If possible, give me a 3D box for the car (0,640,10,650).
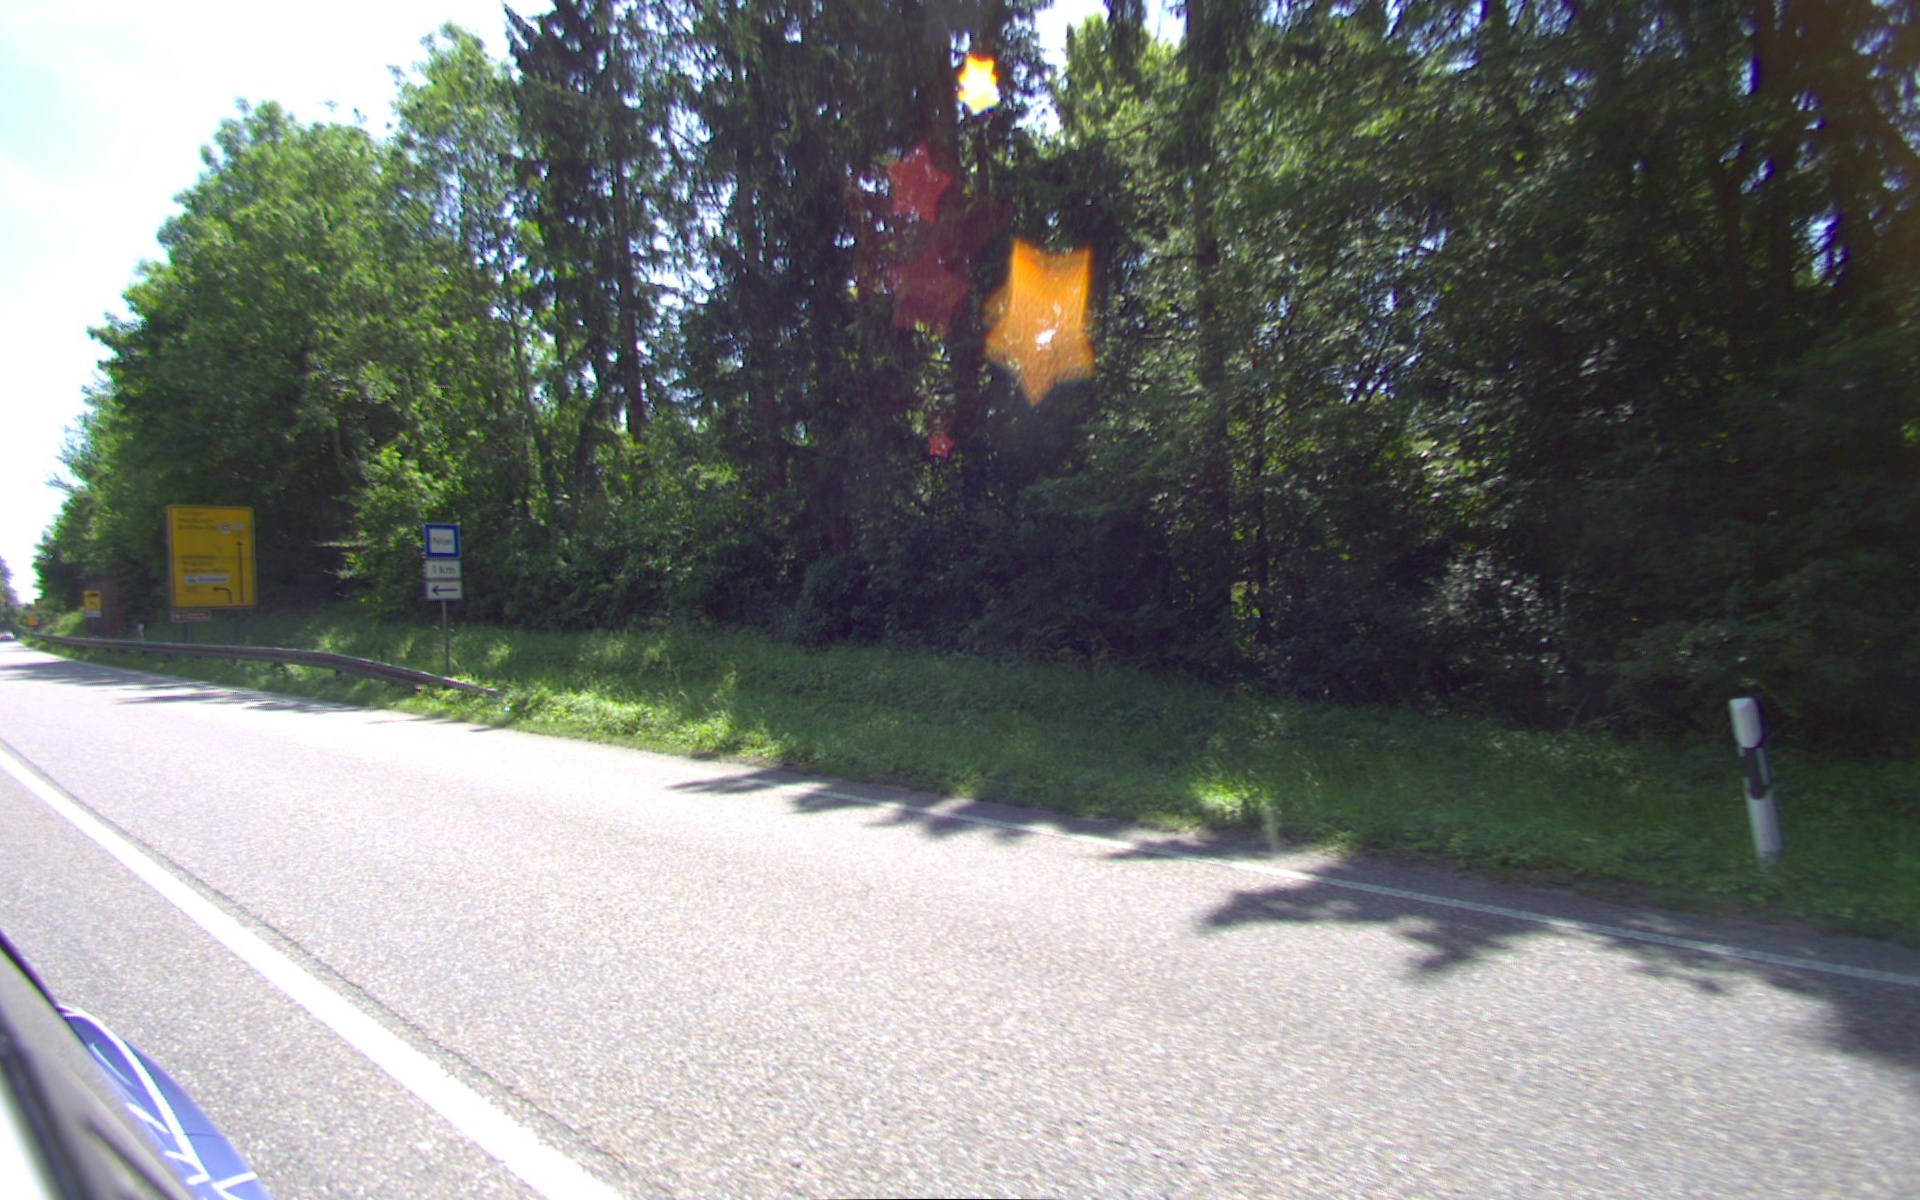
[{"bbox_3d":[-135.160,6.340,142.540,1.785,1.446,3.873,0,-2,-45],"label":"car"}]
